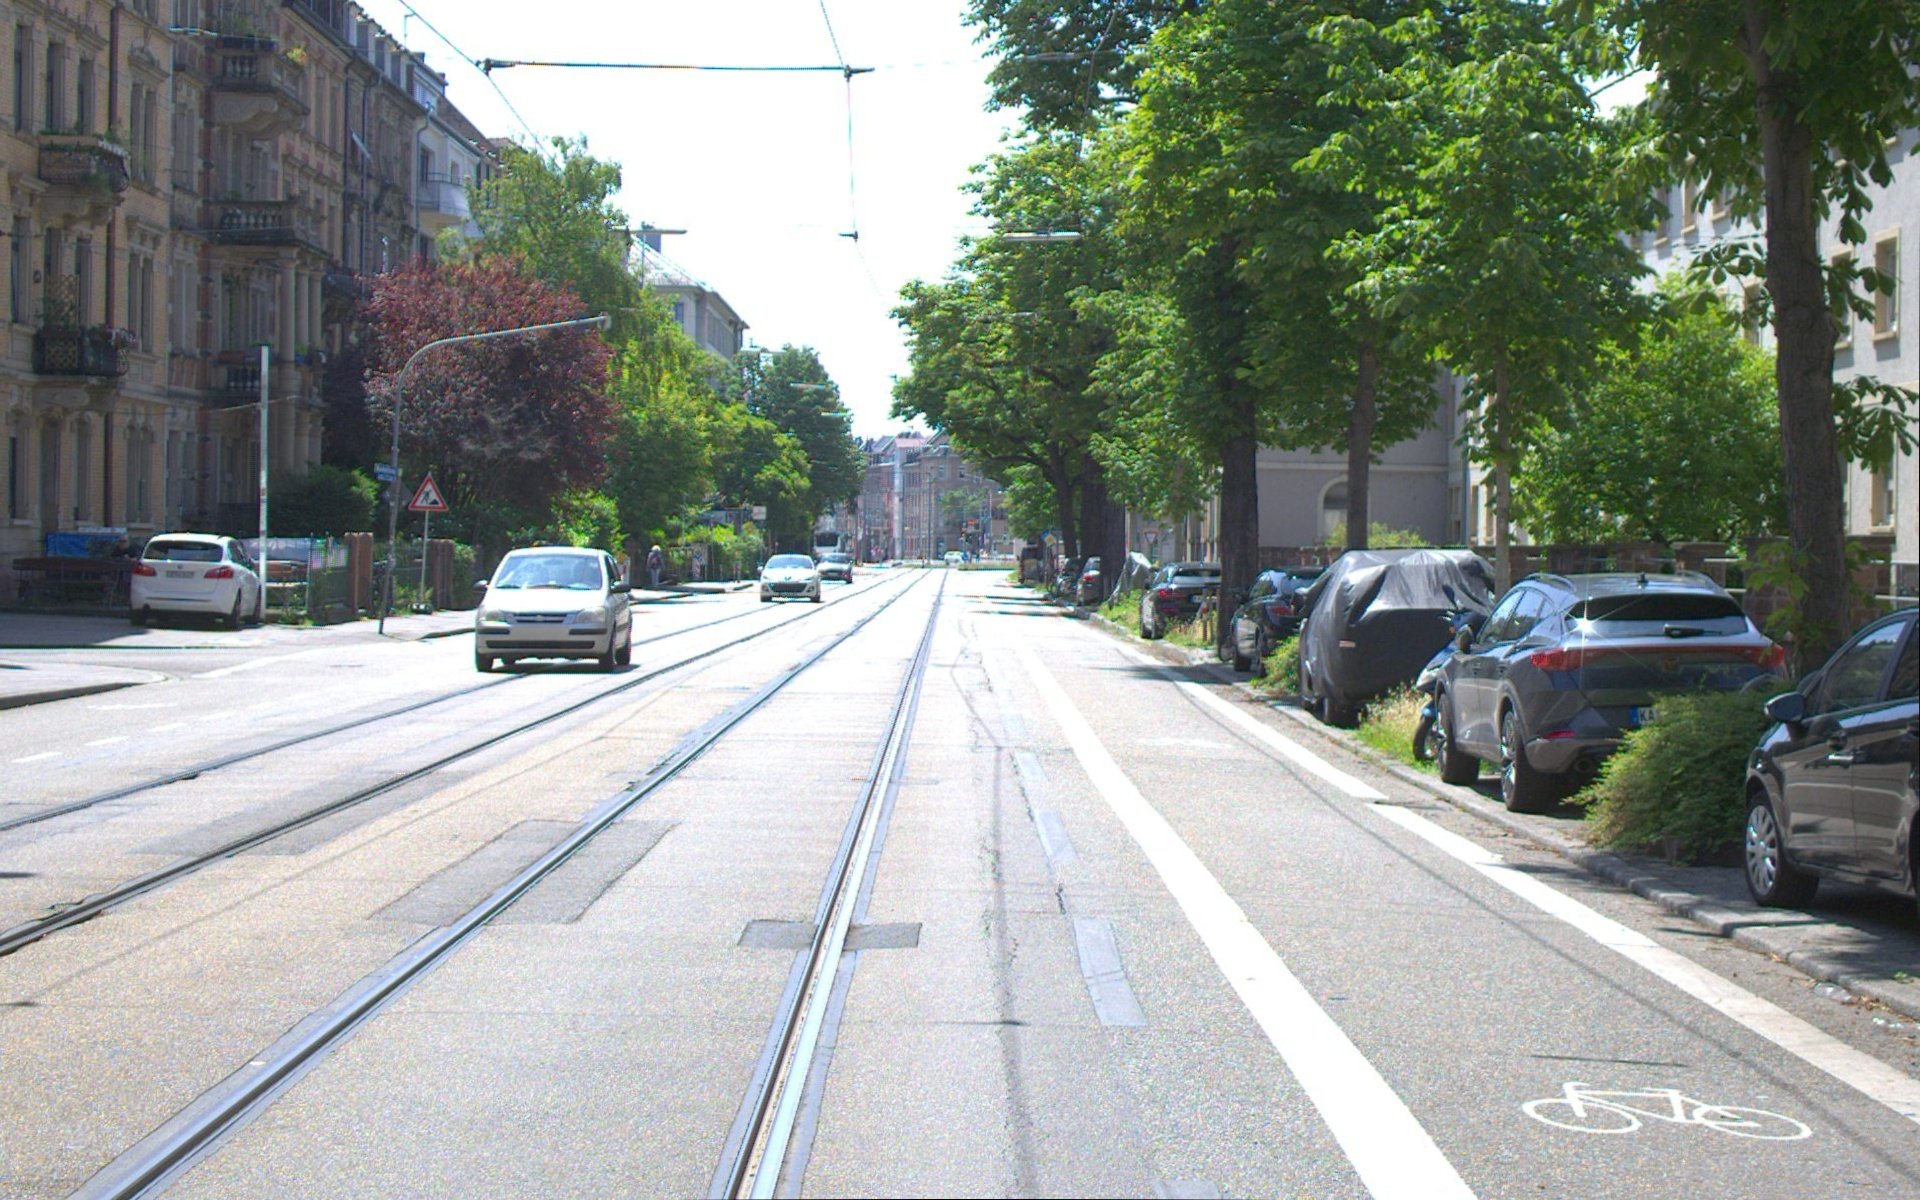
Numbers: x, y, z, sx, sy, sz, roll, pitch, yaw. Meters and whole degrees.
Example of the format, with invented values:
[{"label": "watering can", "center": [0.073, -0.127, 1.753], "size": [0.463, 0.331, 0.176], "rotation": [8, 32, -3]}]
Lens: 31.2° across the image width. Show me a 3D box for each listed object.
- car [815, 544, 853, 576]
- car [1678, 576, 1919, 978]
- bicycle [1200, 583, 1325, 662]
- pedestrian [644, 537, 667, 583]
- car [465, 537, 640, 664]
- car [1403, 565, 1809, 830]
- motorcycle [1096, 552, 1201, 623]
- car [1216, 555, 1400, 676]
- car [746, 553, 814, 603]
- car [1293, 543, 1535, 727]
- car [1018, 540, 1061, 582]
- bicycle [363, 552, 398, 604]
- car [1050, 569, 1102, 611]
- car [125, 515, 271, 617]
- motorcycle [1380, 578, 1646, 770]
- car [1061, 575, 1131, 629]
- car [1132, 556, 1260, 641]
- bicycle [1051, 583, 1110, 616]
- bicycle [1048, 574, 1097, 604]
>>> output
[{"label": "car", "center": [-5.995, -1.904, 163.892], "size": [1.686, 1.449, 3.748], "rotation": [2, 0, 0]}, {"label": "car", "center": [4.441, 0.693, 14.734], "size": [1.656, 1.510, 4.001], "rotation": [2, 1, -3]}, {"label": "bicycle", "center": [4.291, 0.315, 48.809], "size": [1.652, 1.074, 0.606], "rotation": [1, 1, -7]}, {"label": "pedestrian", "center": [-10.837, -1.420, 122.307], "size": [0.750, 1.623, 0.833], "rotation": [2, 0, -6]}, {"label": "car", "center": [-4.955, -0.019, 42.238], "size": [1.684, 1.444, 4.000], "rotation": [1, 1, -1]}, {"label": "car", "center": [4.256, 0.578, 23.336], "size": [1.732, 1.546, 4.454], "rotation": [2, 1, -2]}, {"label": "motorcycle", "center": [4.326, -0.290, 78.998], "size": [2.319, 1.535, 0.867], "rotation": [3, 1, 43]}, {"label": "car", "center": [4.421, 0.167, 44.232], "size": [1.694, 1.414, 4.358], "rotation": [2, 1, -3]}, {"label": "car", "center": [-5.365, -0.656, 102.950], "size": [1.756, 1.419, 4.000], "rotation": [1, 0, 0]}, {"label": "car", "center": [4.435, 0.286, 34.244], "size": [1.947, 1.645, 4.879], "rotation": [2, 1, 3]}, {"label": "car", "center": [3.977, -1.988, 173.522], "size": [1.993, 2.028, 4.697], "rotation": [2, 1, 0]}, {"label": "bicycle", "center": [-11.489, -0.437, 68.175], "size": [0.454, 1.000, 1.807], "rotation": [2, 0, -4]}, {"label": "car", "center": [4.022, -0.341, 119.329], "size": [1.621, 1.443, 3.810], "rotation": [-1, 0, 0]}, {"label": "car", "center": [-13.062, -0.593, 59.122], "size": [1.865, 1.594, 4.102], "rotation": [3, 0, -5]}, {"label": "motorcycle", "center": [4.366, 0.580, 27.182], "size": [1.912, 1.428, 0.672], "rotation": [2, 1, -9]}, {"label": "car", "center": [3.955, 0.041, 100.545], "size": [1.774, 1.496, 4.306], "rotation": [1, 1, -1]}, {"label": "car", "center": [4.314, -0.056, 63.479], "size": [1.769, 1.422, 4.863], "rotation": [2, 1, -3]}, {"label": "bicycle", "center": [4.029, -0.015, 114.517], "size": [1.890, 1.048, 0.538], "rotation": [2, 0, 7]}, {"label": "bicycle", "center": [4.214, -0.405, 128.819], "size": [1.816, 1.109, 0.493], "rotation": [1, -1, 0]}]
